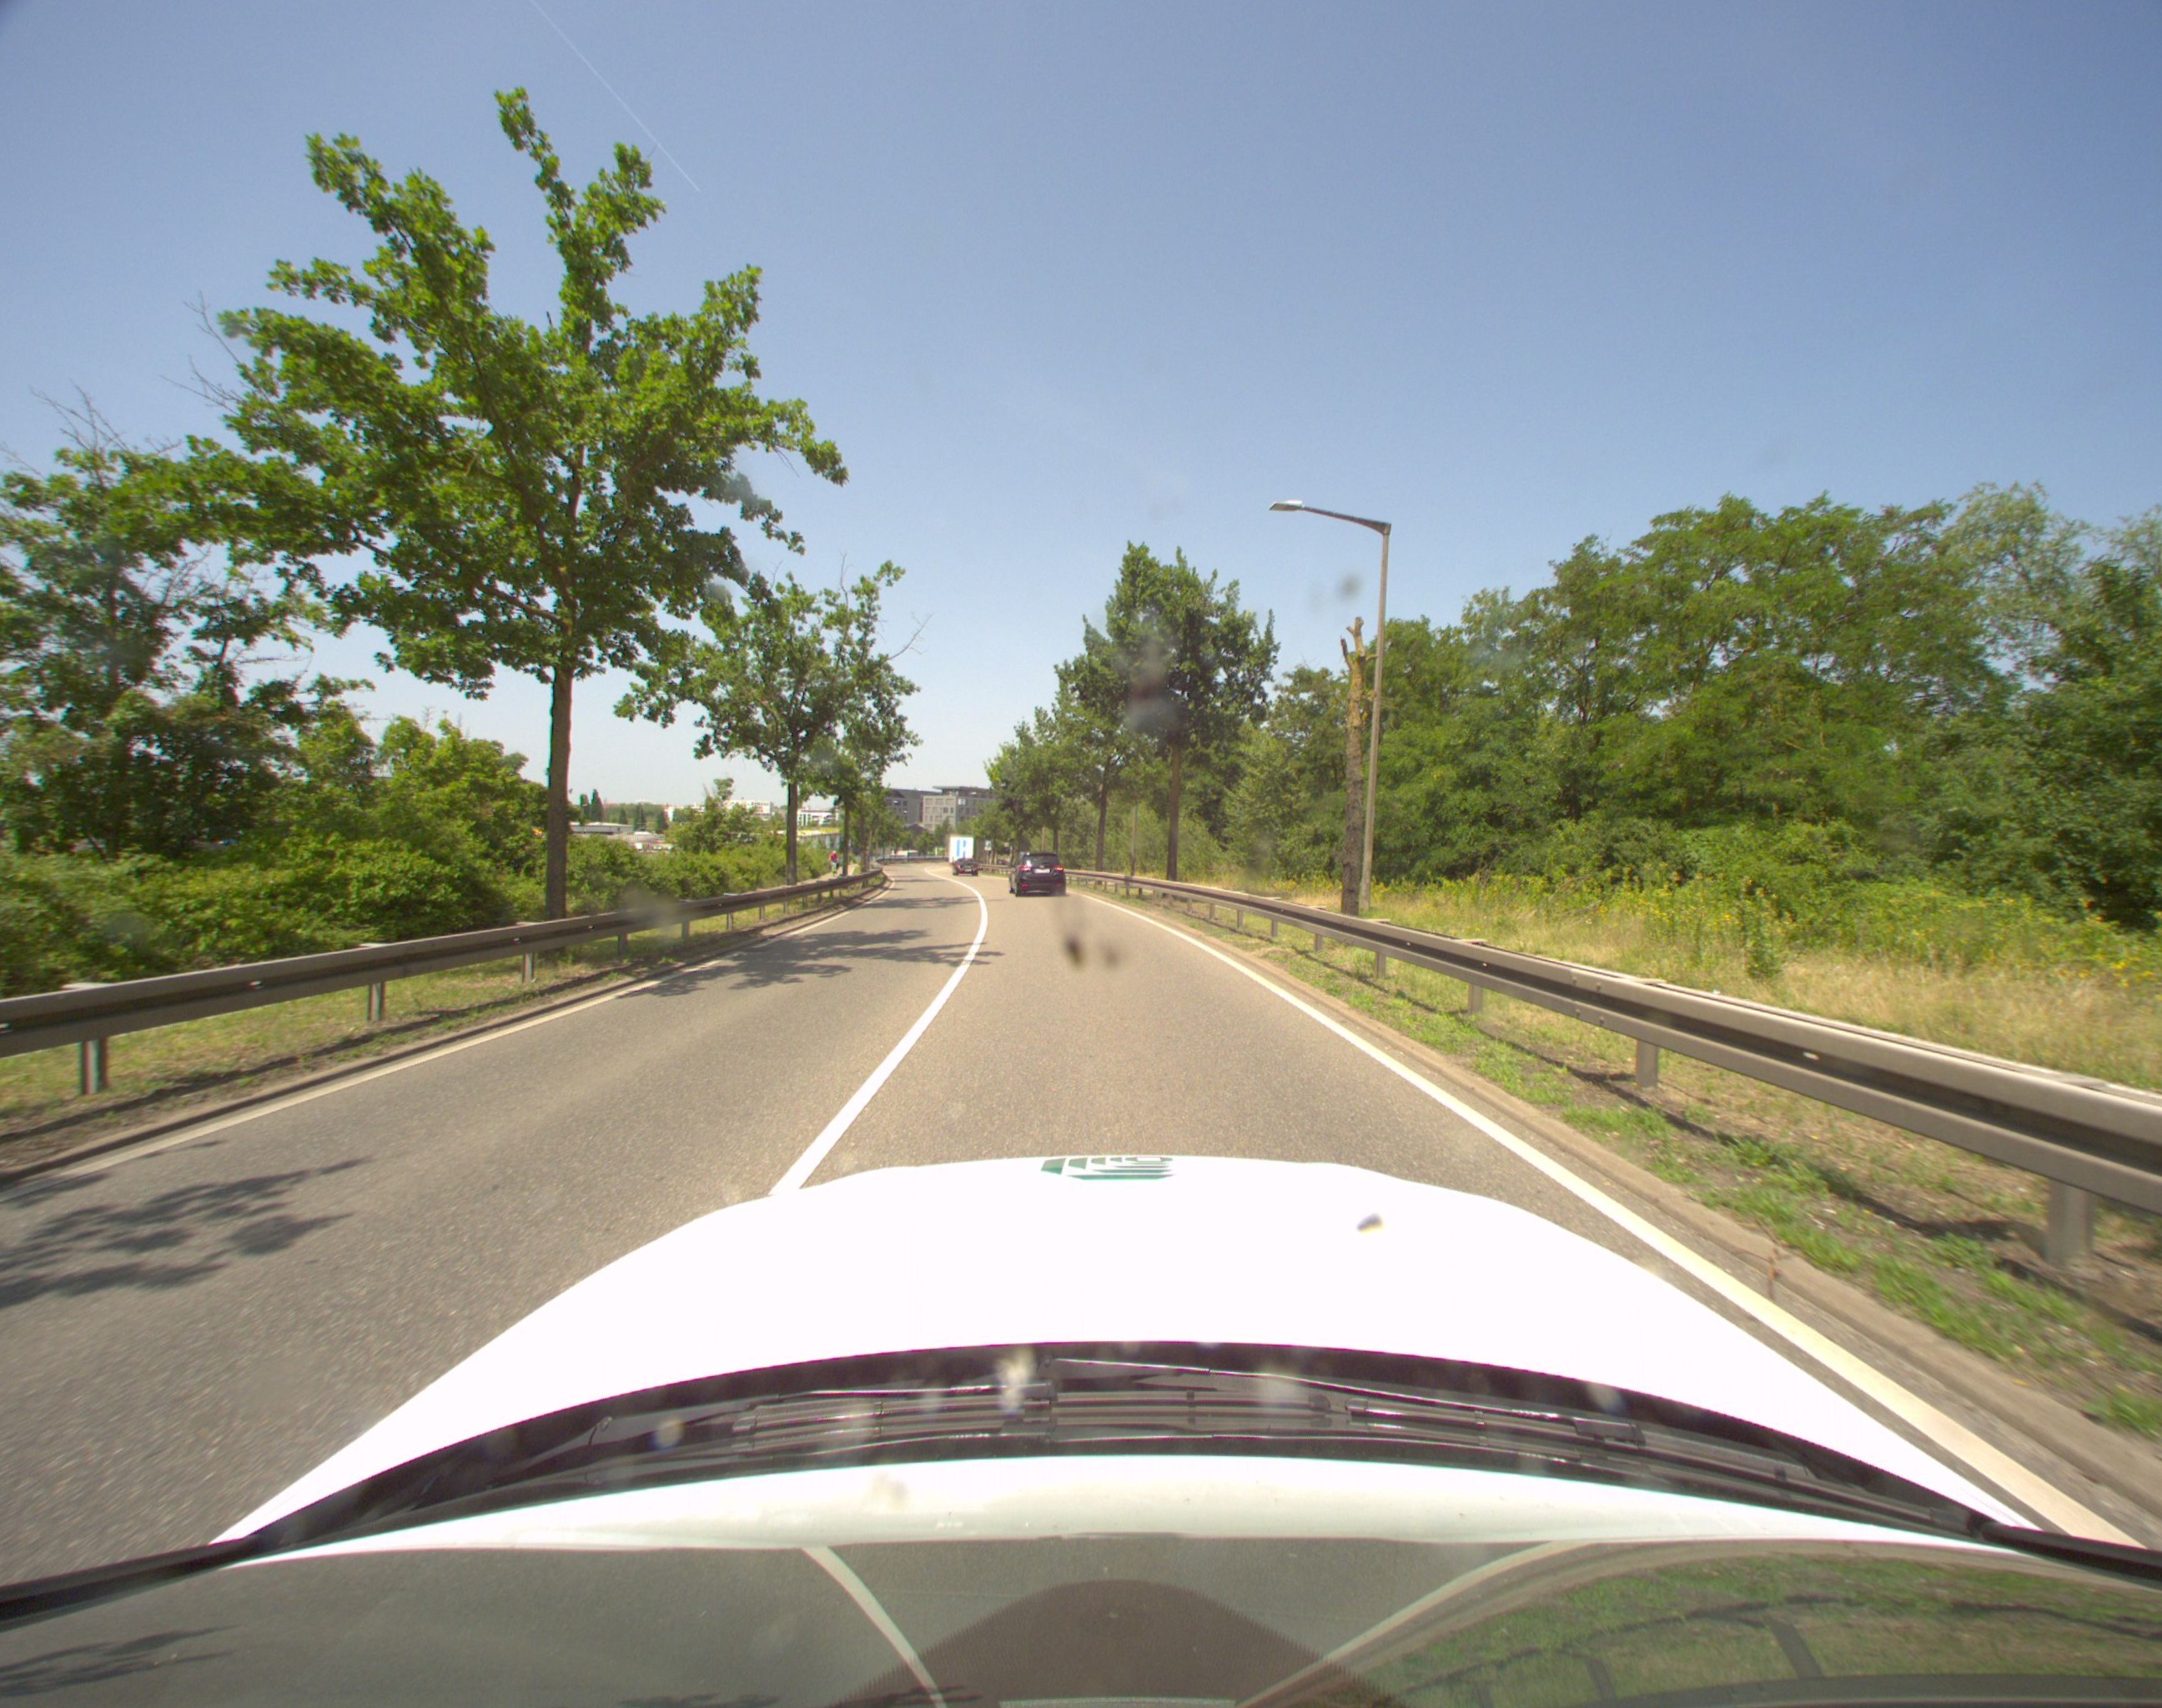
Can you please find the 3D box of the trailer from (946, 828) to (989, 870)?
[{"bbox_3d":[-13.065,-0.642,95.099,3.069,4.368,14.769,2,1,-1],"label":"trailer"}]

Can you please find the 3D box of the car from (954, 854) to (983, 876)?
[{"bbox_3d":[-8.825,0.818,63.670,1.958,1.634,4.263,1,-1,-11],"label":"car"}]

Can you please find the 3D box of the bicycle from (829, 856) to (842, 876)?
[{"bbox_3d":[-16.099,0.793,53.454,0.736,1.281,2.035,1,-1,-16],"label":"bicycle"}]

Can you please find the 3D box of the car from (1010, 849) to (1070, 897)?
[{"bbox_3d":[-1.574,0.639,29.747,1.766,1.599,4.065,-1,0,-9],"label":"car"}]

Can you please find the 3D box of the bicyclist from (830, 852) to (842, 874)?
[{"bbox_3d":[-16.127,0.593,53.567,0.743,1.489,0.752,1,-1,-17],"label":"bicyclist"}]
